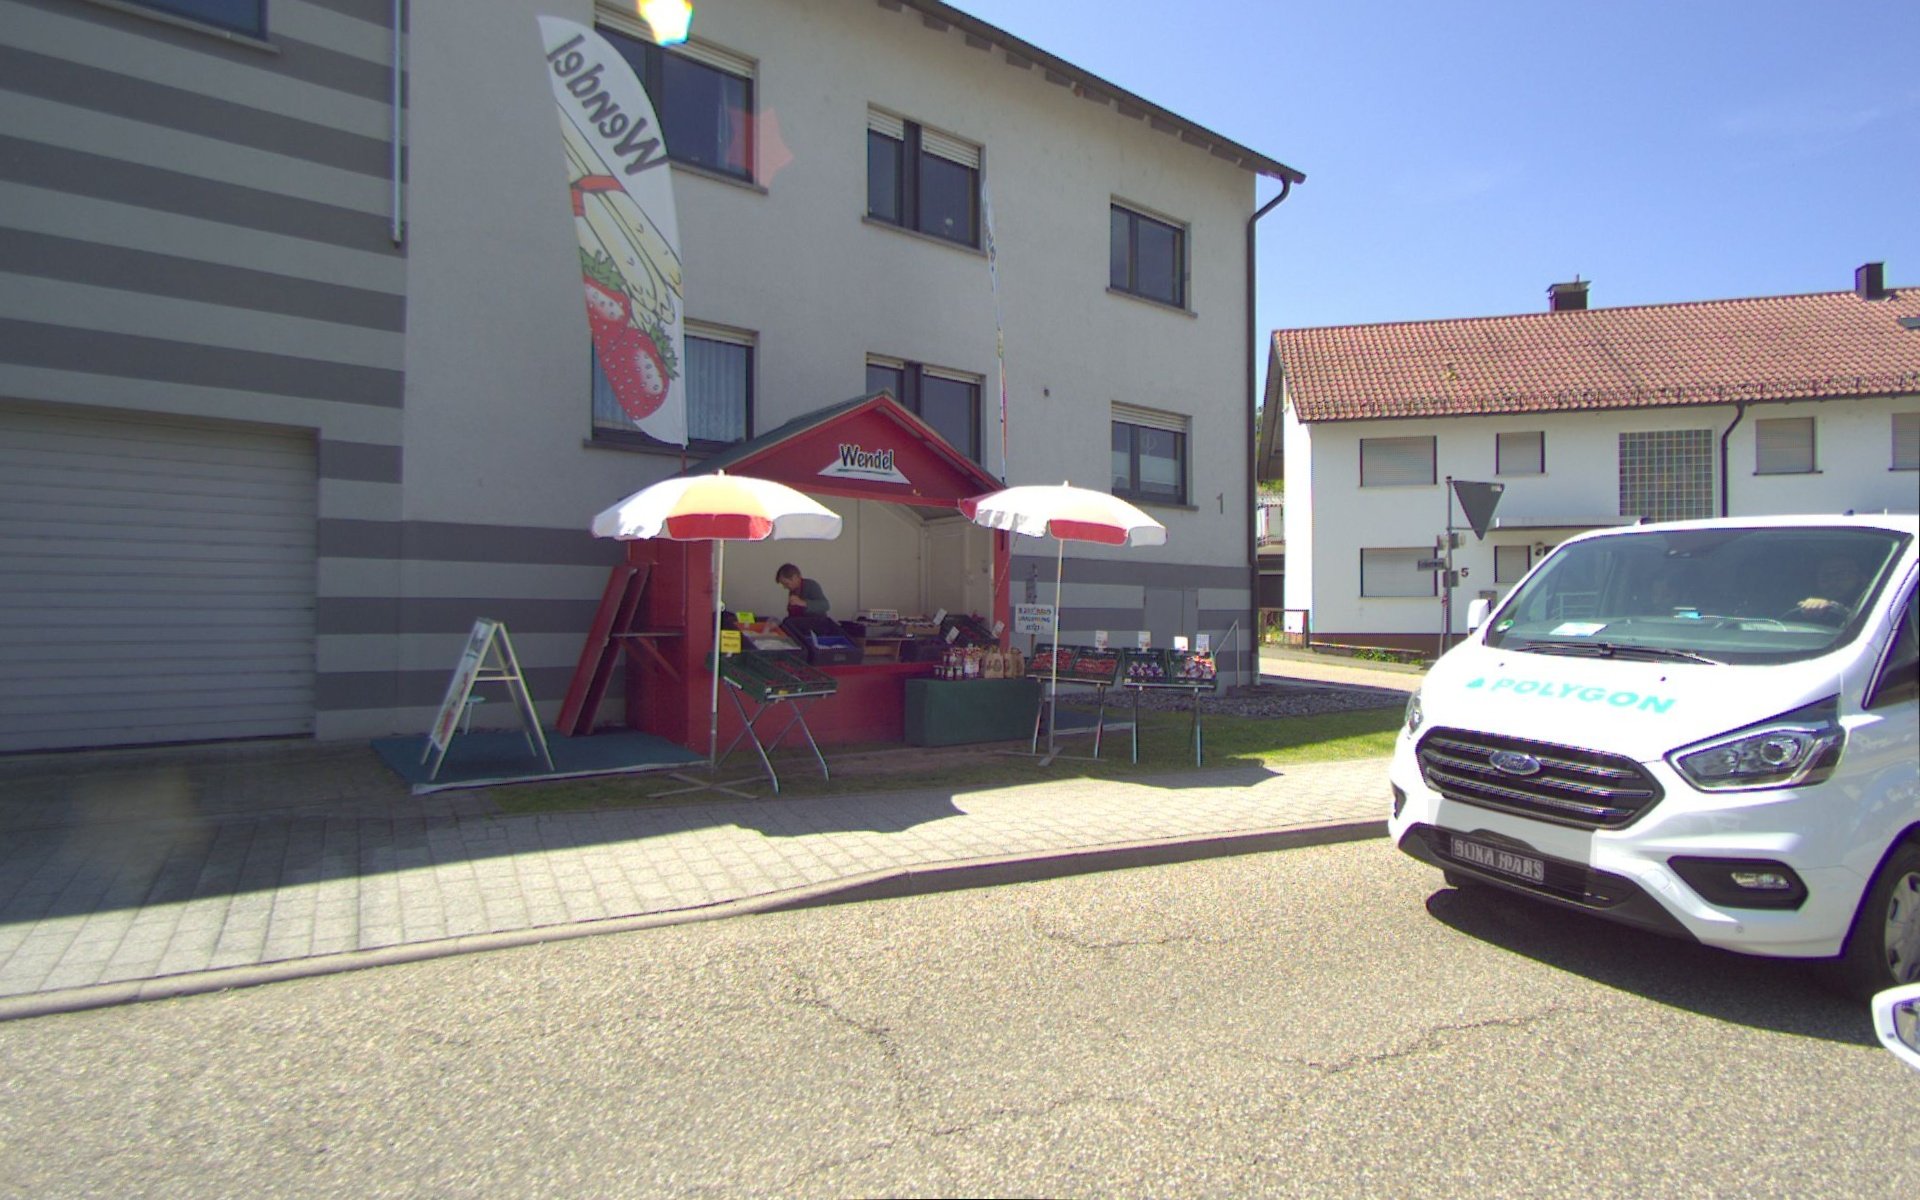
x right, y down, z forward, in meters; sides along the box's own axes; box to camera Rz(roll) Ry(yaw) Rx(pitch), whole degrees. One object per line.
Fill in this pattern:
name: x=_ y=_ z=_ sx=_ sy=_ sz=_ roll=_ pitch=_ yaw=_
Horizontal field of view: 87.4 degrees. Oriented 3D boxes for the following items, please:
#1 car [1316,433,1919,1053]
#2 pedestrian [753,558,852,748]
car: x=4.536 y=0.494 z=5.367 sx=5.148 sy=2.026 sz=1.986 roll=1 pitch=0 yaw=-28
pedestrian: x=-1.368 y=0.458 z=8.826 sx=0.793 sy=1.608 sz=0.613 roll=1 pitch=-1 yaw=-4
